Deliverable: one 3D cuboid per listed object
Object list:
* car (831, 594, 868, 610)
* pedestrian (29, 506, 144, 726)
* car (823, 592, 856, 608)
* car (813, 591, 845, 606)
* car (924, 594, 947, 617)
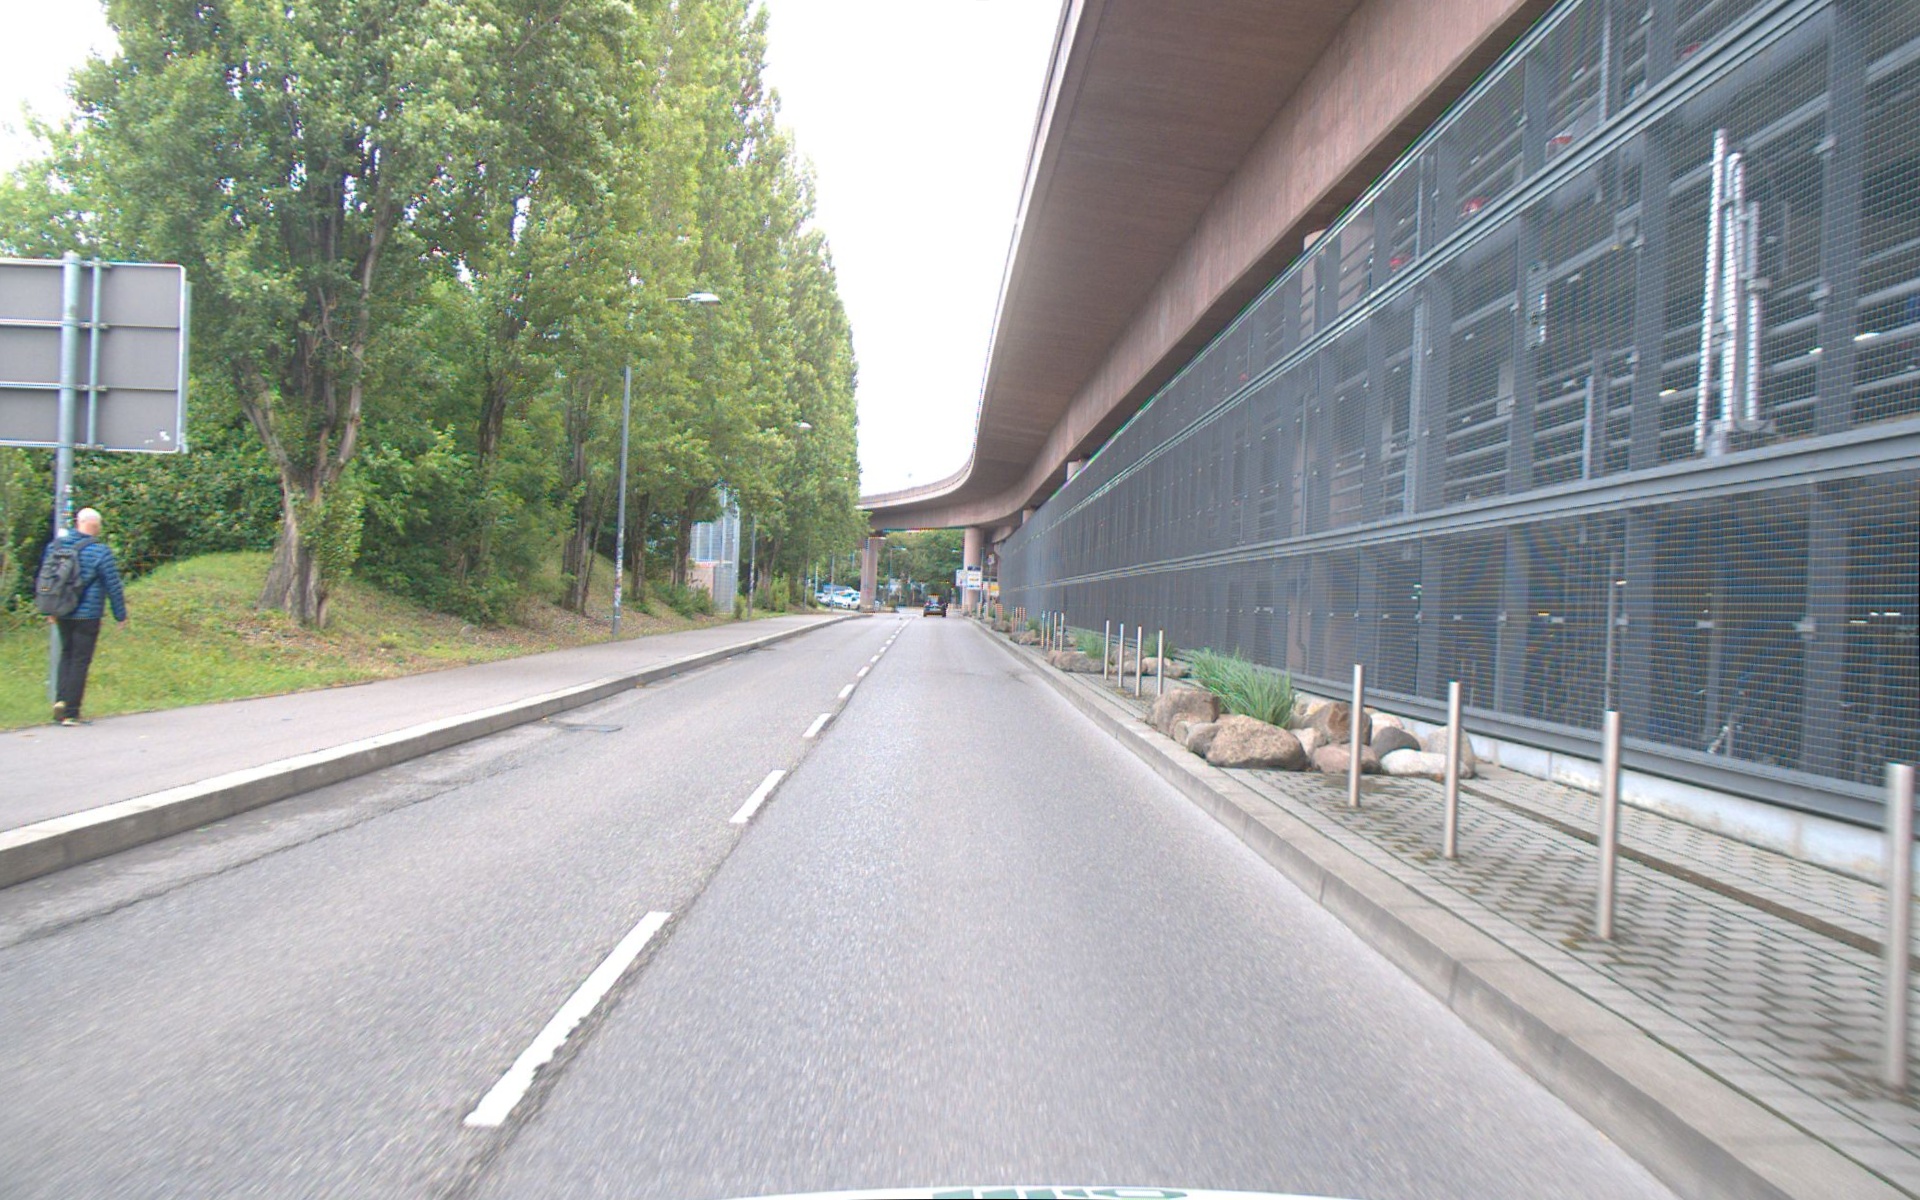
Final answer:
[{"bbox_3d":[-12.700,0.195,189.814,1.851,1.746,4.131,3,2,40],"label":"car"},{"bbox_3d":[-7.484,0.120,14.211,0.794,1.811,0.913,1,1,-26],"label":"pedestrian"},{"bbox_3d":[-14.131,-0.025,194.134,1.694,1.746,3.653,3,2,40],"label":"car"},{"bbox_3d":[-15.683,-0.212,197.617,1.694,1.746,3.653,3,2,40],"label":"car"},{"bbox_3d":[-2.028,0.468,136.440,1.802,1.741,3.705,2,2,-1],"label":"car"}]
